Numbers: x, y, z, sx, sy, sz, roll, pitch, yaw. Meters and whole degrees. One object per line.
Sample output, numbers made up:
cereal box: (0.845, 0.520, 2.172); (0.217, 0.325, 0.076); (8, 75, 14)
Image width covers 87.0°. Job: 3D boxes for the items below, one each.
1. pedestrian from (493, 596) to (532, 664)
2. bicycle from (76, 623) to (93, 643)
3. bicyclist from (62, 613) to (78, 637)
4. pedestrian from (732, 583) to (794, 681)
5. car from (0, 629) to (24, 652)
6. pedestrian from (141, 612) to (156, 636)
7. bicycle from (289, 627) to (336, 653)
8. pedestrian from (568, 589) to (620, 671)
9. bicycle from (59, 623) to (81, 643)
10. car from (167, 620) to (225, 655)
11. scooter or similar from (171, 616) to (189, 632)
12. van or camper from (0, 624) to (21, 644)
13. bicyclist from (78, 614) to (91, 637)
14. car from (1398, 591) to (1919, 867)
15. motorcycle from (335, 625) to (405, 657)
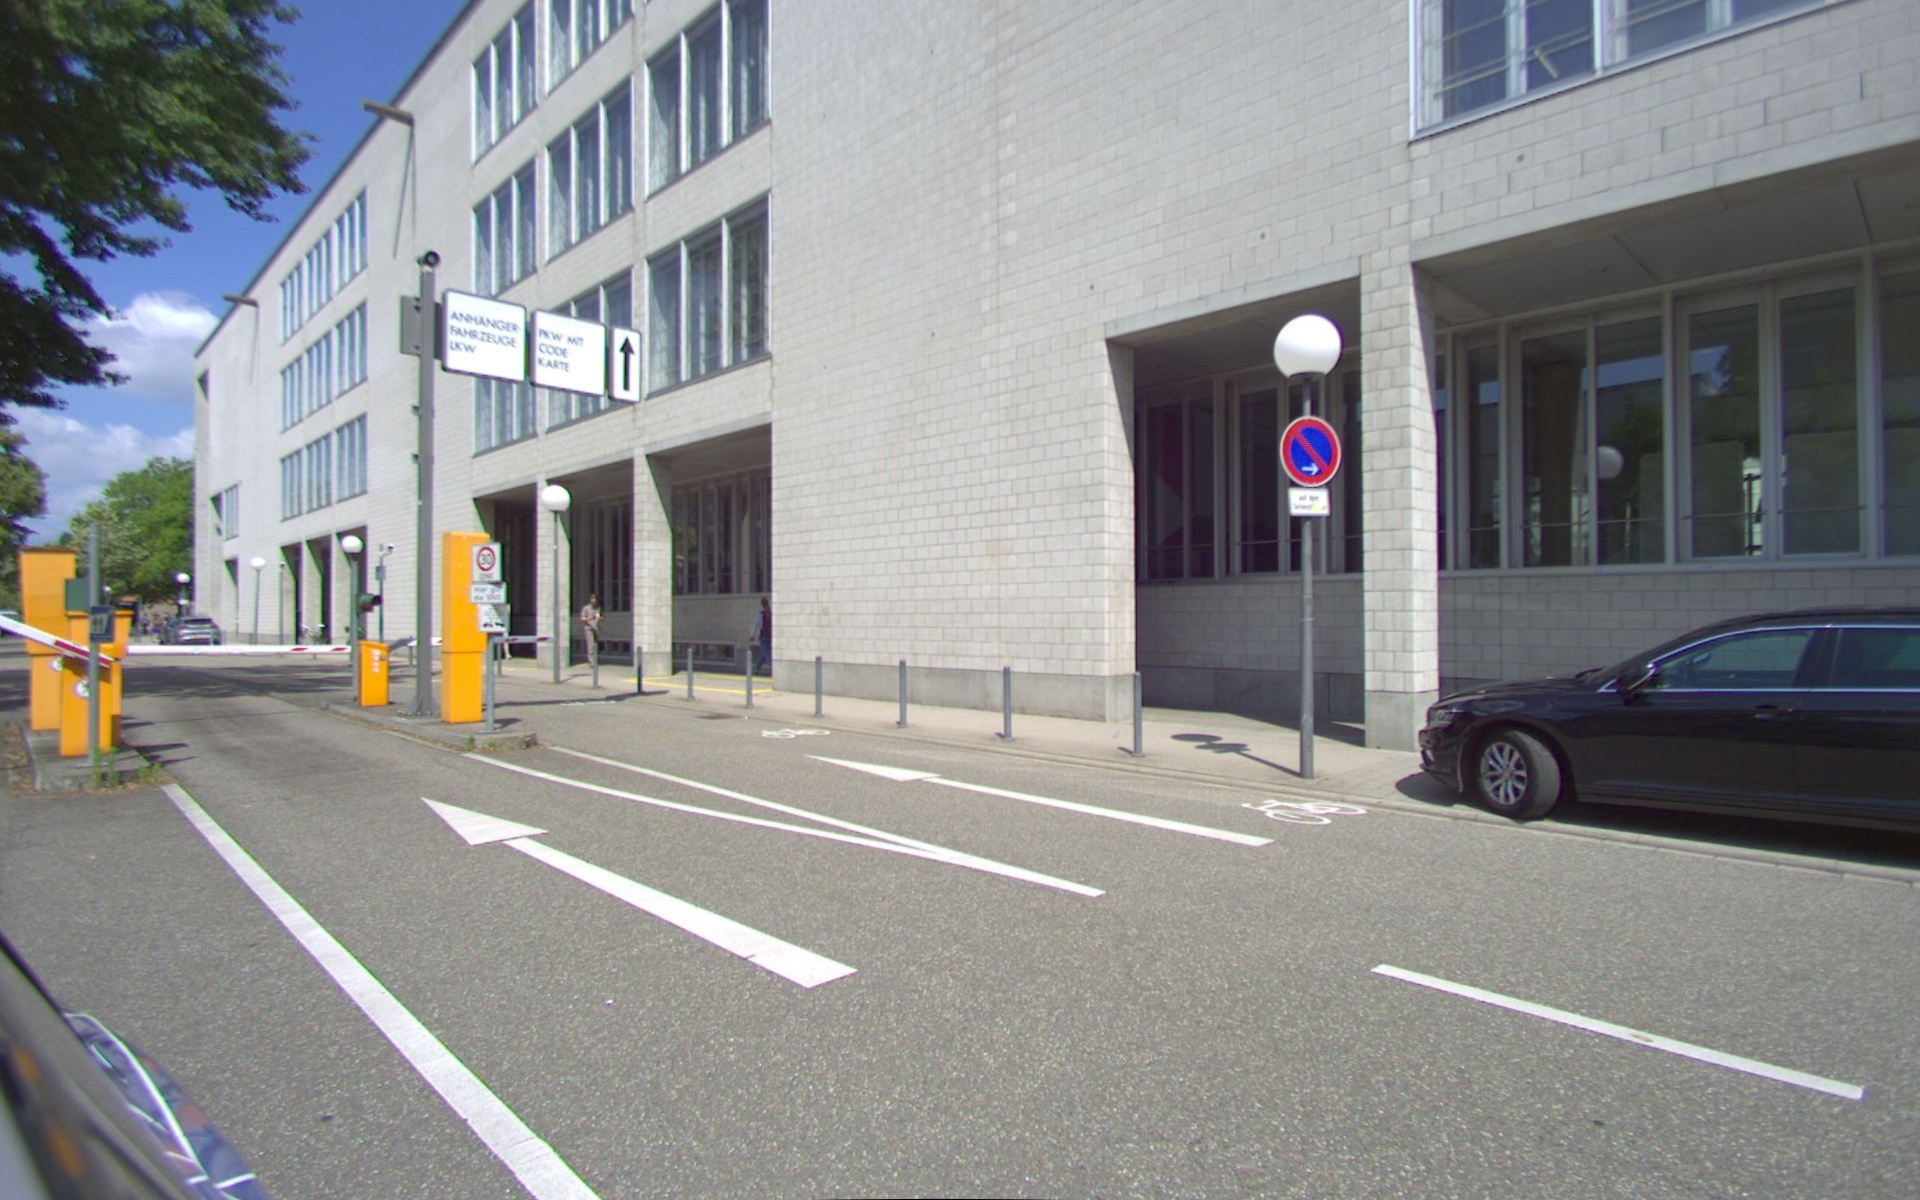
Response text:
pedestrian: (-13.481, 0.891, 30.476); (0.846, 2.029, 0.882); (0, -1, -42)
bicycle: (-67.524, 2.517, 78.042); (1.933, 1.505, 0.631); (-1, -1, 38)
bicyclist: (-67.378, 1.906, 76.637); (0.731, 1.790, 0.753); (-1, -1, 36)
pedestrian: (-4.204, 0.680, 21.612); (1.066, 2.029, 0.838); (-1, -2, 44)
car: (-76.438, 3.238, 81.163); (1.970, 1.829, 4.004); (1, -2, -43)
pedestrian: (-62.832, 1.853, 78.364); (0.749, 1.738, 1.238); (-3, 1, -33)
bicycle: (-28.628, 1.767, 44.753); (0.608, 1.095, 1.622); (-1, -1, 40)
pedestrian: (-9.379, 0.763, 25.931); (1.066, 2.029, 0.838); (-1, -2, 44)
bicycle: (-67.502, 2.494, 76.748); (2.058, 1.505, 0.788); (-1, -1, 36)
car: (-37.204, 1.783, 49.243); (1.706, 1.546, 4.409); (-2, 1, -44)
scooter or similar: (-61.264, 1.893, 79.468); (0.702, 1.200, 1.620); (0, 0, -22)
van or camper: (-114.875, 4.088, 122.085); (1.968, 2.379, 4.392); (1, -2, -38)
bicyclist: (-67.532, 1.964, 78.053); (0.695, 1.778, 0.602); (-1, -1, 37)
car: (5.581, 0.708, 6.500); (1.838, 1.478, 4.722); (-2, 0, -44)
motorcycle: (-22.233, 1.533, 38.185); (0.773, 1.146, 2.146); (-1, -2, 35)
